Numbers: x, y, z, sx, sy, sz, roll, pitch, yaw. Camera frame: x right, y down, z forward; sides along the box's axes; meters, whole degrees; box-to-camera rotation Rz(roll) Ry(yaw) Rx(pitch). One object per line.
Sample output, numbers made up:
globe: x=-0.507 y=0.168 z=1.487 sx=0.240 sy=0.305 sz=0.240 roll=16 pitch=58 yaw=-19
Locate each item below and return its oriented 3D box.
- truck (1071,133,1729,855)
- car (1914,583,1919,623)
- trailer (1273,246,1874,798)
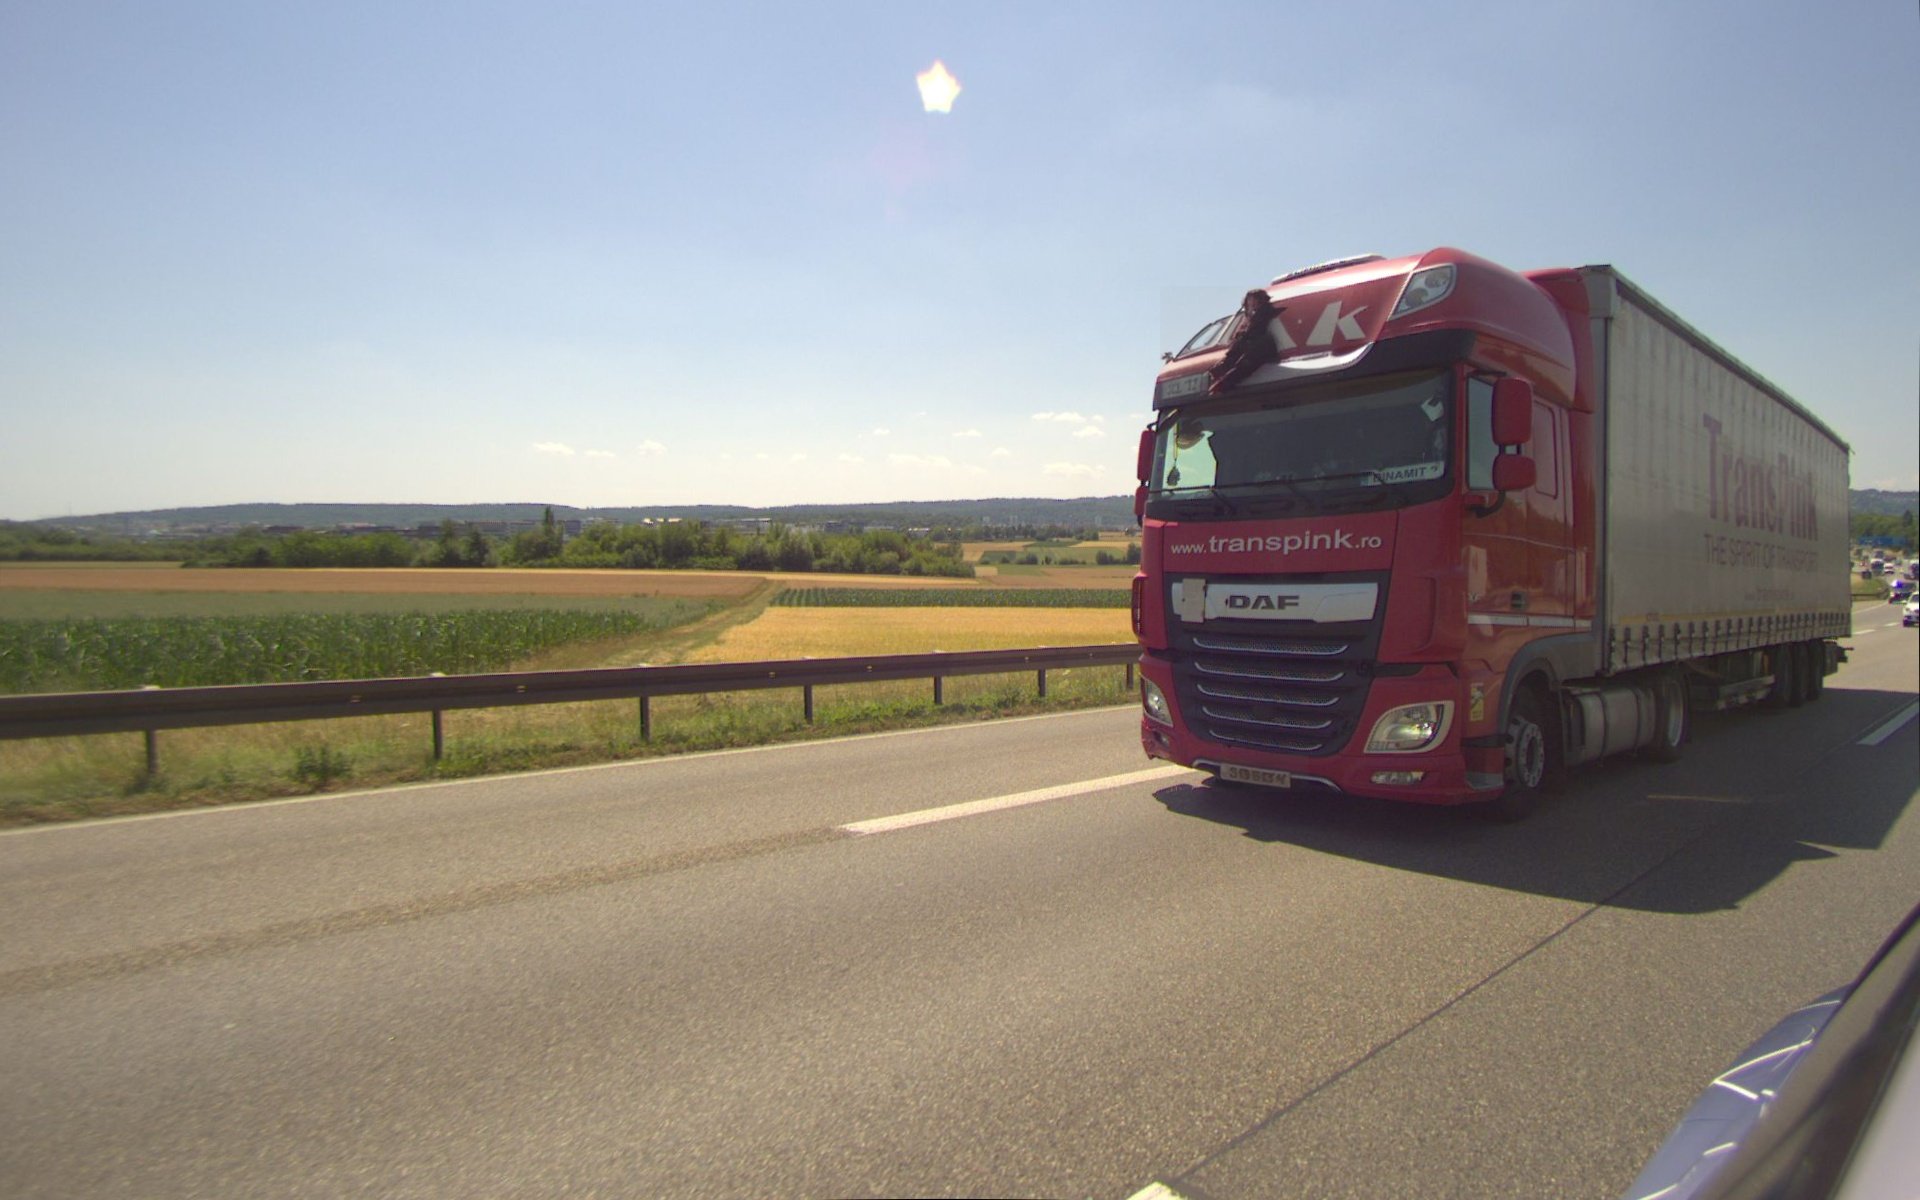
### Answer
truck: x=4.224 y=-0.658 z=8.933 sx=6.399 sy=4.059 sz=2.920 roll=-1 pitch=1 yaw=-42
car: x=43.926 y=0.120 z=45.199 sx=1.832 sy=1.665 sz=4.107 roll=0 pitch=2 yaw=44
trailer: x=9.089 y=-0.714 z=13.306 sx=13.621 sy=4.169 sz=2.922 roll=-1 pitch=1 yaw=-42
